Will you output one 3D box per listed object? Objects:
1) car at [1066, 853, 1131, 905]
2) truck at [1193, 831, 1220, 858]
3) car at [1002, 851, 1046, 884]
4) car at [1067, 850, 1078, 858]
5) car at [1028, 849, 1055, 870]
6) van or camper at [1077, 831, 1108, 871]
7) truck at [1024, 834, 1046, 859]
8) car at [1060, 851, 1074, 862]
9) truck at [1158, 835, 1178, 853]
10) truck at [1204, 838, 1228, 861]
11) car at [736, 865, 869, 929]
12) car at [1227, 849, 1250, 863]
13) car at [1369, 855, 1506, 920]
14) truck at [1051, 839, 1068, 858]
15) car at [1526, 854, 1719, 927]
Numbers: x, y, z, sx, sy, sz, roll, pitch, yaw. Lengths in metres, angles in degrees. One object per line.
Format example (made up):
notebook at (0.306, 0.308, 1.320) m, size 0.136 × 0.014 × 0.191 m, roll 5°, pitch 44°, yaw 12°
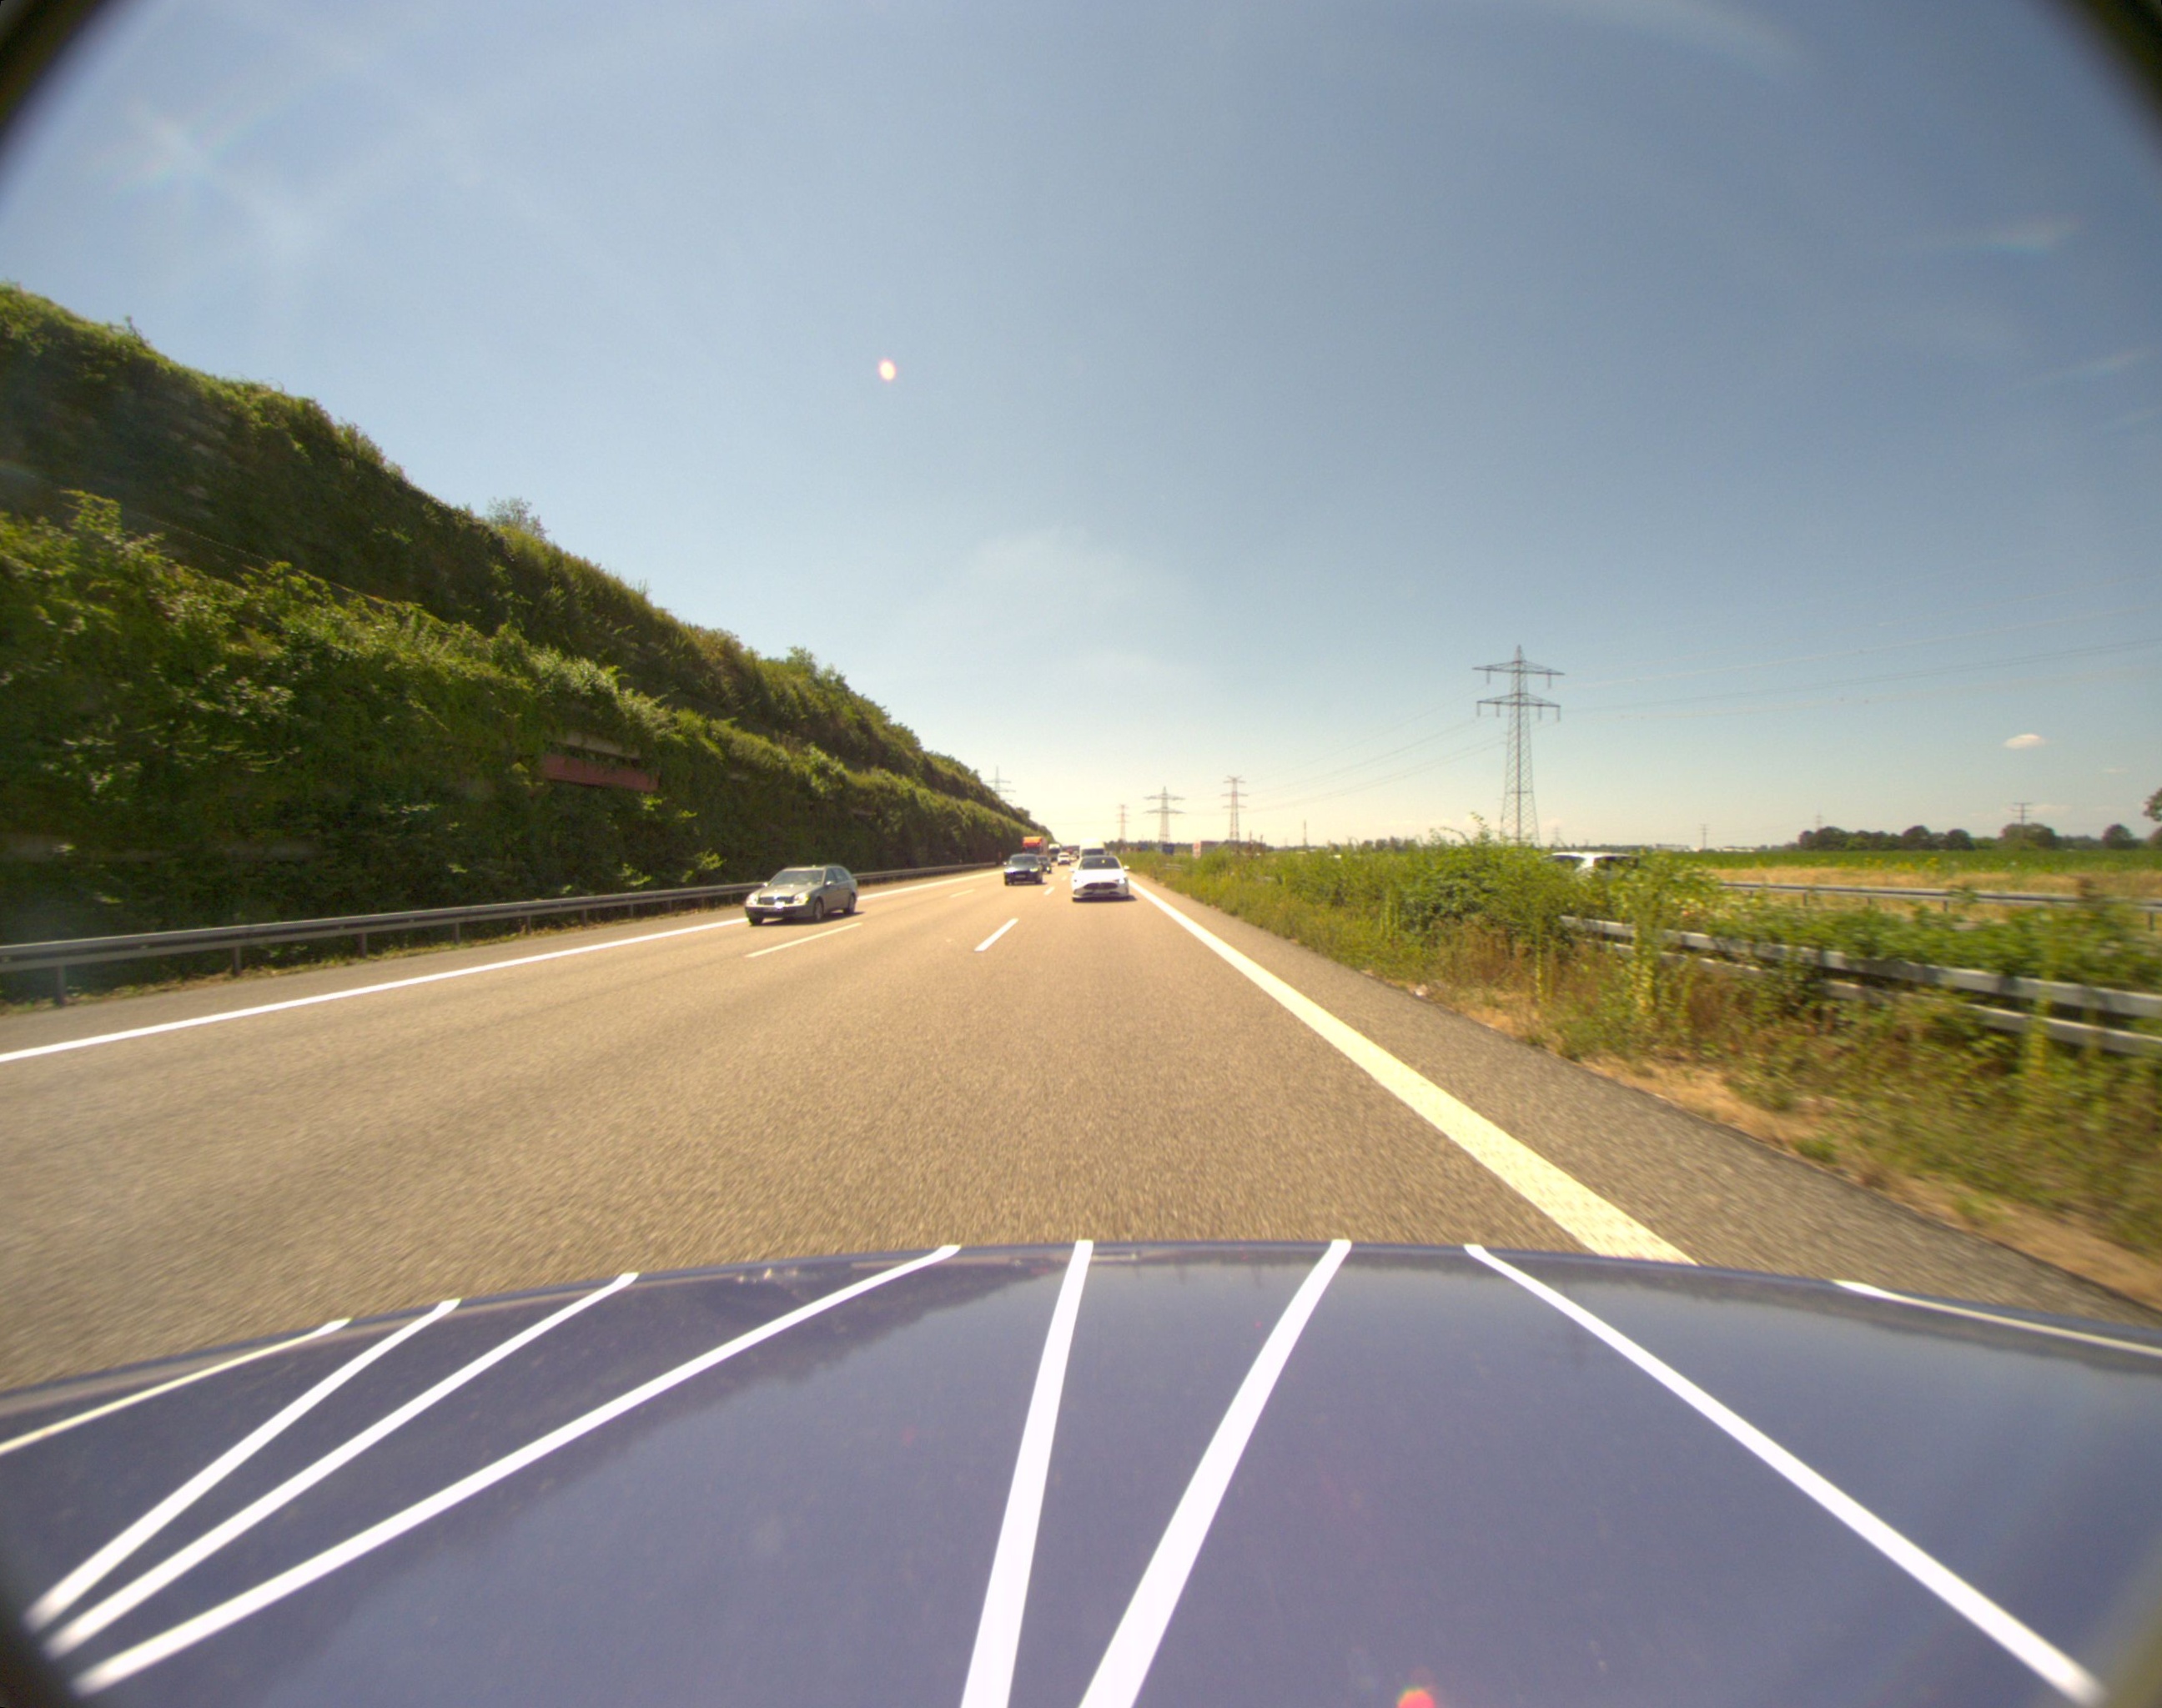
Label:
car at (0.569, 0.772, 25.848) m, size 1.984 × 1.525 × 4.558 m, roll -1°, pitch 0°, yaw 1°
truck at (20.028, -1.542, 122.007) m, size 3.214 × 4.060 × 9.649 m, roll 0°, pitch 1°, yaw 3°
car at (-3.055, 0.694, 41.719) m, size 1.984 × 1.671 × 4.558 m, roll -1°, pitch 0°, yaw 1°
car at (-1.625, -0.079, 151.151) m, size 1.984 × 1.525 × 4.137 m, roll -1°, pitch 0°, yaw 1°
car at (-3.299, 0.463, 64.384) m, size 1.984 × 1.671 × 4.558 m, roll -1°, pitch 0°, yaw 1°
van or camper at (0.925, -0.232, 55.703) m, size 1.998 × 2.741 × 5.410 m, roll -2°, pitch 0°, yaw 3°
truck at (-6.227, -1.068, 103.968) m, size 2.581 × 3.204 × 5.713 m, roll -2°, pitch 1°, yaw 0°
car at (-2.014, 0.333, 109.638) m, size 1.984 × 1.525 × 4.137 m, roll -1°, pitch 0°, yaw 1°
truck at (20.483, -2.400, 178.593) m, size 3.507 × 4.060 × 9.646 m, roll 0°, pitch 1°, yaw 0°
truck at (24.521, -0.869, 138.402) m, size 3.214 × 4.060 × 9.649 m, roll 0°, pitch 1°, yaw 3°
car at (-7.355, 1.066, 20.597) m, size 1.840 × 1.403 × 4.558 m, roll -2°, pitch 0°, yaw 1°
car at (18.912, 0.216, 91.624) m, size 1.866 × 1.644 × 4.558 m, roll -1°, pitch 0°, yaw 1°
car at (10.083, 0.879, 21.924) m, size 1.866 × 1.644 × 4.558 m, roll -1°, pitch 0°, yaw 1°
truck at (-4.838, -1.266, 169.815) m, size 3.507 × 3.891 × 9.646 m, roll 0°, pitch 1°, yaw 0°
car at (13.925, 0.846, 19.950) m, size 1.866 × 1.644 × 4.558 m, roll -1°, pitch 0°, yaw 1°
